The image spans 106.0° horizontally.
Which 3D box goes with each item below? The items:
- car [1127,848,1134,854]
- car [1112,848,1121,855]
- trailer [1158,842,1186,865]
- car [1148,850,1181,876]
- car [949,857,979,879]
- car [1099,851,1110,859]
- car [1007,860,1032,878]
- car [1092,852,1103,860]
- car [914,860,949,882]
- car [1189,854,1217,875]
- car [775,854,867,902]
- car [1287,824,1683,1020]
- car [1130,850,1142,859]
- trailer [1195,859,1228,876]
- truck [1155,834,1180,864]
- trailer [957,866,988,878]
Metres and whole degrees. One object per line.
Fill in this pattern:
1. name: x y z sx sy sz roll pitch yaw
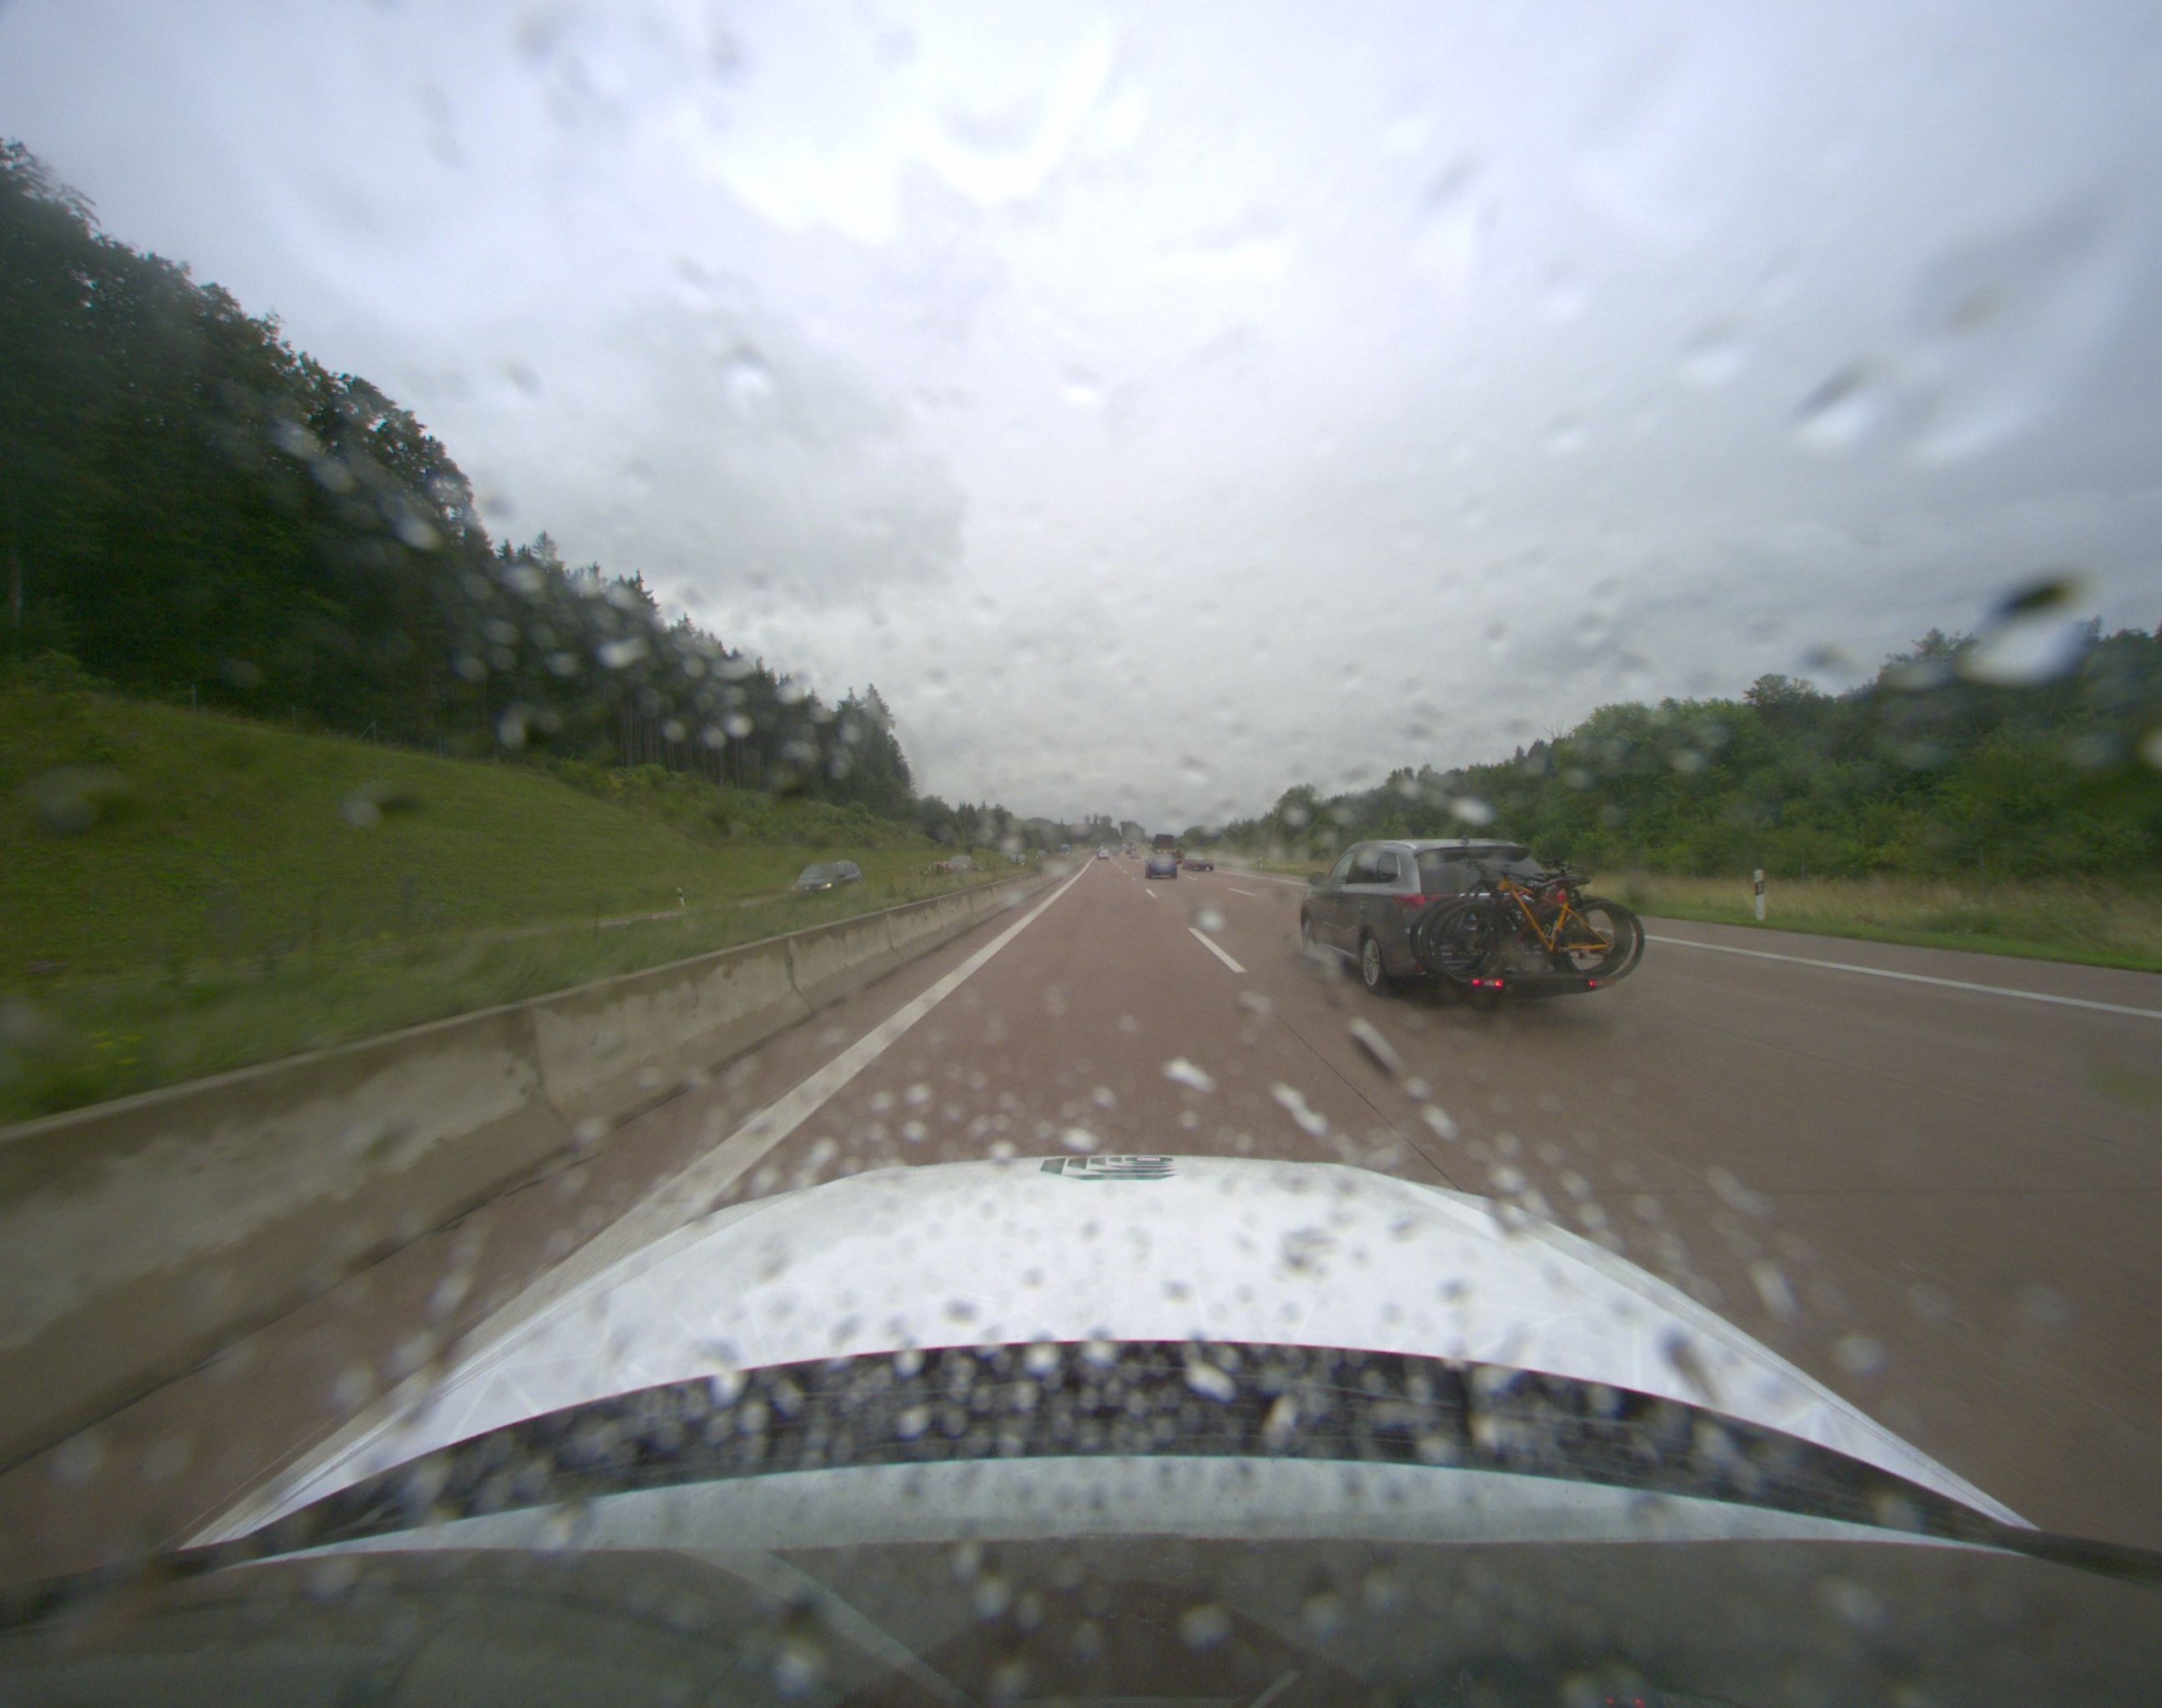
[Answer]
1. car: 15.258 -0.950 251.138 1.986 2.014 4.002 0 -1 2
2. car: 9.385 -0.559 216.726 2.313 1.750 4.880 0 -1 3
3. trailer: 11.370 0.017 102.673 2.869 2.675 11.405 0 -1 3
4. car: 5.051 0.552 49.764 1.764 1.564 4.149 0 -1 3
5. car: -11.608 1.380 80.949 1.986 2.014 5.675 -1 -1 1
6. car: 4.207 0.173 147.278 1.866 1.444 4.881 0 1 3
7. car: -6.091 1.486 81.668 1.883 1.780 4.942 0 -1 3
8. car: 3.839 0.443 186.500 2.313 1.750 4.880 0 -1 3
9. car: -10.754 1.200 58.827 1.720 1.529 4.118 0 -1 2
10. car: 10.062 0.849 67.267 1.691 1.611 4.978 -1 -1 2
11. car: -10.698 0.915 33.941 1.986 1.767 5.098 -1 1 2
12. car: 4.026 0.592 9.566 1.985 1.593 5.824 0 -1 3
13. car: 10.972 0.180 162.297 2.313 1.750 4.880 0 -1 3
14. trailer: 9.969 1.010 62.499 1.964 1.166 4.642 0 1 2
15. truck: 11.691 -0.615 110.109 2.886 3.964 6.992 0 -1 2
16. trailer: -11.478 1.915 86.597 2.197 0.998 6.852 -5 -1 1
